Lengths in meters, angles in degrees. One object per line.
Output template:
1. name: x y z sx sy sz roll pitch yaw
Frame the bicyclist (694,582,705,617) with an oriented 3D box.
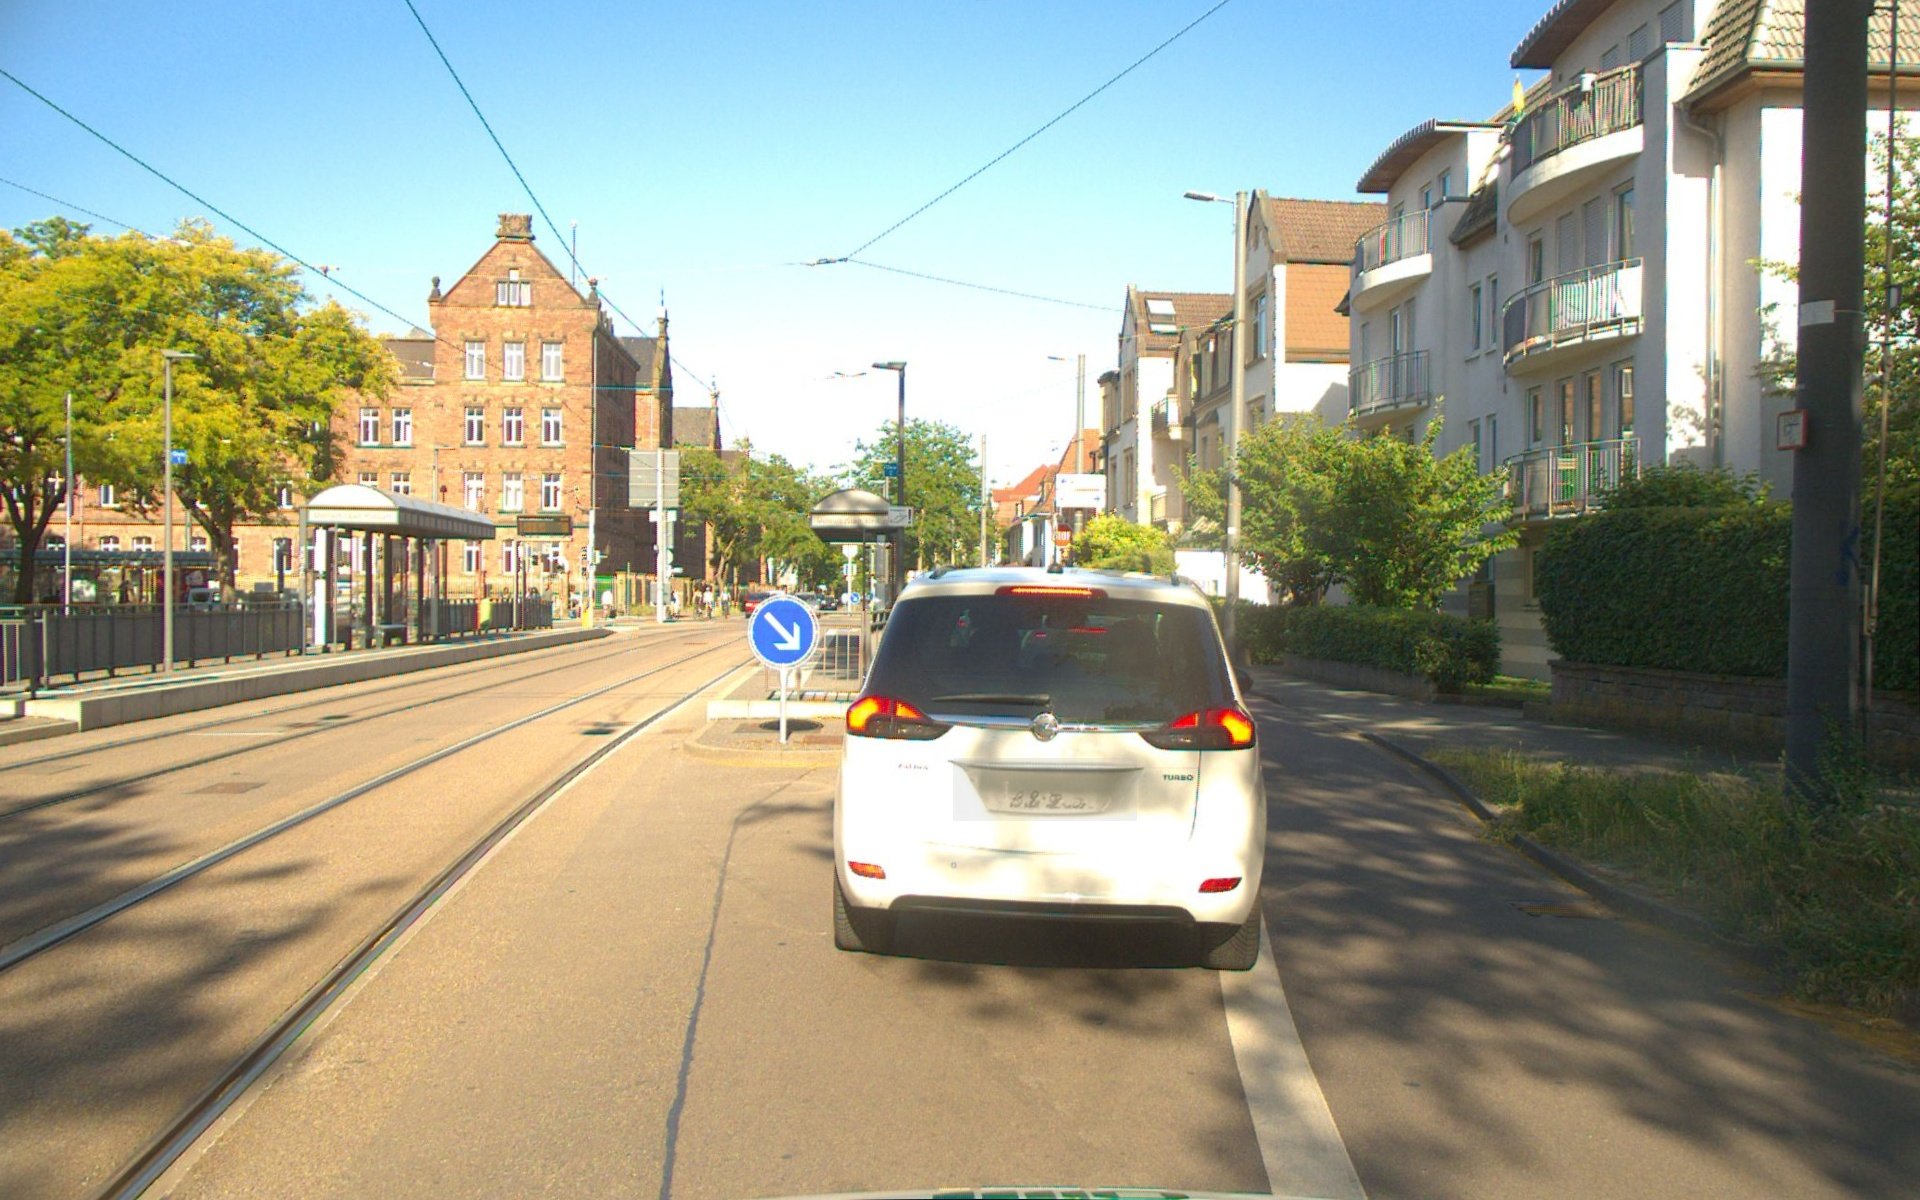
1. bicyclist: -15.313 -0.045 97.215 0.488 2.049 0.572 1 -1 -1

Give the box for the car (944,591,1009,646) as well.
1. car: 0.496 0.551 53.075 1.869 1.690 3.998 0 0 -2

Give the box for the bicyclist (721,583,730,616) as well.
1. bicyclist: -14.514 -0.010 102.317 0.478 2.049 0.502 1 -1 -1

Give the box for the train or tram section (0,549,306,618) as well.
1. train or tram section: -40.758 -0.767 79.409 17.048 3.210 3.343 0 0 -6

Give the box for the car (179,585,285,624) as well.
1. car: -32.455 0.215 73.808 3.908 1.658 1.817 1 0 -4

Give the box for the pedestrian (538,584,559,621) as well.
1. pedestrian: -21.851 0.137 87.753 0.791 1.934 0.744 1 -1 13

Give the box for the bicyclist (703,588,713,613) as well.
1. bicyclist: -15.607 0.033 102.575 0.520 1.503 0.572 1 -1 -1

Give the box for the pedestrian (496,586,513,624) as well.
1. pedestrian: -21.993 0.248 79.799 0.754 1.805 0.717 1 -1 -18

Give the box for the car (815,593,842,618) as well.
1. car: -9.770 0.418 123.378 1.711 1.746 3.999 1 0 -1

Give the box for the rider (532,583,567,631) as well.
1. rider: -15.806 0.259 63.729 0.779 1.813 2.486 1 0 -2

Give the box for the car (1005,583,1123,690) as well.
1. car: 1.785 0.575 28.279 1.867 1.690 4.002 0 0 4

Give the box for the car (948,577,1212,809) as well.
1. car: 1.066 0.647 13.767 1.866 1.625 4.003 0 0 6

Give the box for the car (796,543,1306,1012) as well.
1. car: 0.540 0.631 8.076 1.866 1.690 4.003 0 0 6

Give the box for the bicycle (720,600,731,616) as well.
1. bicycle: -14.522 0.514 102.317 0.477 0.988 1.405 1 0 -1

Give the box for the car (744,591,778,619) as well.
1. car: -12.686 0.324 105.454 1.711 1.746 3.999 1 0 -1

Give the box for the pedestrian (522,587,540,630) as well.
1. pedestrian: -20.414 0.405 78.769 0.781 2.049 1.042 1 -1 -15

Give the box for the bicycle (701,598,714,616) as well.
1. bicycle: -15.622 0.410 102.389 0.498 1.096 1.738 1 0 -1

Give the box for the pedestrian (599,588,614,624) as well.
1. pedestrian: -20.386 0.351 95.431 0.675 2.049 0.618 1 -1 3

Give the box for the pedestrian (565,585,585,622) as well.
1. pedestrian: -21.761 0.188 93.511 0.703 2.049 0.797 1 -1 22

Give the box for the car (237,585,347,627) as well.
1. car: -28.124 0.262 69.735 3.908 1.658 1.817 1 0 -4

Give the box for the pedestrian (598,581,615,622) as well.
1. pedestrian: -18.092 0.082 84.682 0.782 2.049 0.717 1 -1 -18

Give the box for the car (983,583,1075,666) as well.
1. car: 1.441 0.501 36.112 1.868 1.690 4.000 0 0 0

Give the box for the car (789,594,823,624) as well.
1. car: -9.148 0.542 98.620 1.711 1.746 3.999 1 0 -1

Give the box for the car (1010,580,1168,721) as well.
1. car: 1.745 0.584 21.618 1.866 1.653 4.003 0 0 6

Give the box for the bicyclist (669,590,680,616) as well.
1. bicyclist: -16.233 0.175 94.006 0.520 1.503 0.572 1 -1 -1

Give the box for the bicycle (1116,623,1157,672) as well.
1. bicycle: 3.602 0.959 33.940 0.662 0.941 1.885 0 0 1

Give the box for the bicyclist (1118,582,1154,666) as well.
1. bicyclist: 3.610 0.482 33.922 0.662 1.687 0.745 0 0 1

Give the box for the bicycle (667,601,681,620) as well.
1. bicycle: -16.241 0.588 93.984 0.498 1.096 1.738 1 0 -1
